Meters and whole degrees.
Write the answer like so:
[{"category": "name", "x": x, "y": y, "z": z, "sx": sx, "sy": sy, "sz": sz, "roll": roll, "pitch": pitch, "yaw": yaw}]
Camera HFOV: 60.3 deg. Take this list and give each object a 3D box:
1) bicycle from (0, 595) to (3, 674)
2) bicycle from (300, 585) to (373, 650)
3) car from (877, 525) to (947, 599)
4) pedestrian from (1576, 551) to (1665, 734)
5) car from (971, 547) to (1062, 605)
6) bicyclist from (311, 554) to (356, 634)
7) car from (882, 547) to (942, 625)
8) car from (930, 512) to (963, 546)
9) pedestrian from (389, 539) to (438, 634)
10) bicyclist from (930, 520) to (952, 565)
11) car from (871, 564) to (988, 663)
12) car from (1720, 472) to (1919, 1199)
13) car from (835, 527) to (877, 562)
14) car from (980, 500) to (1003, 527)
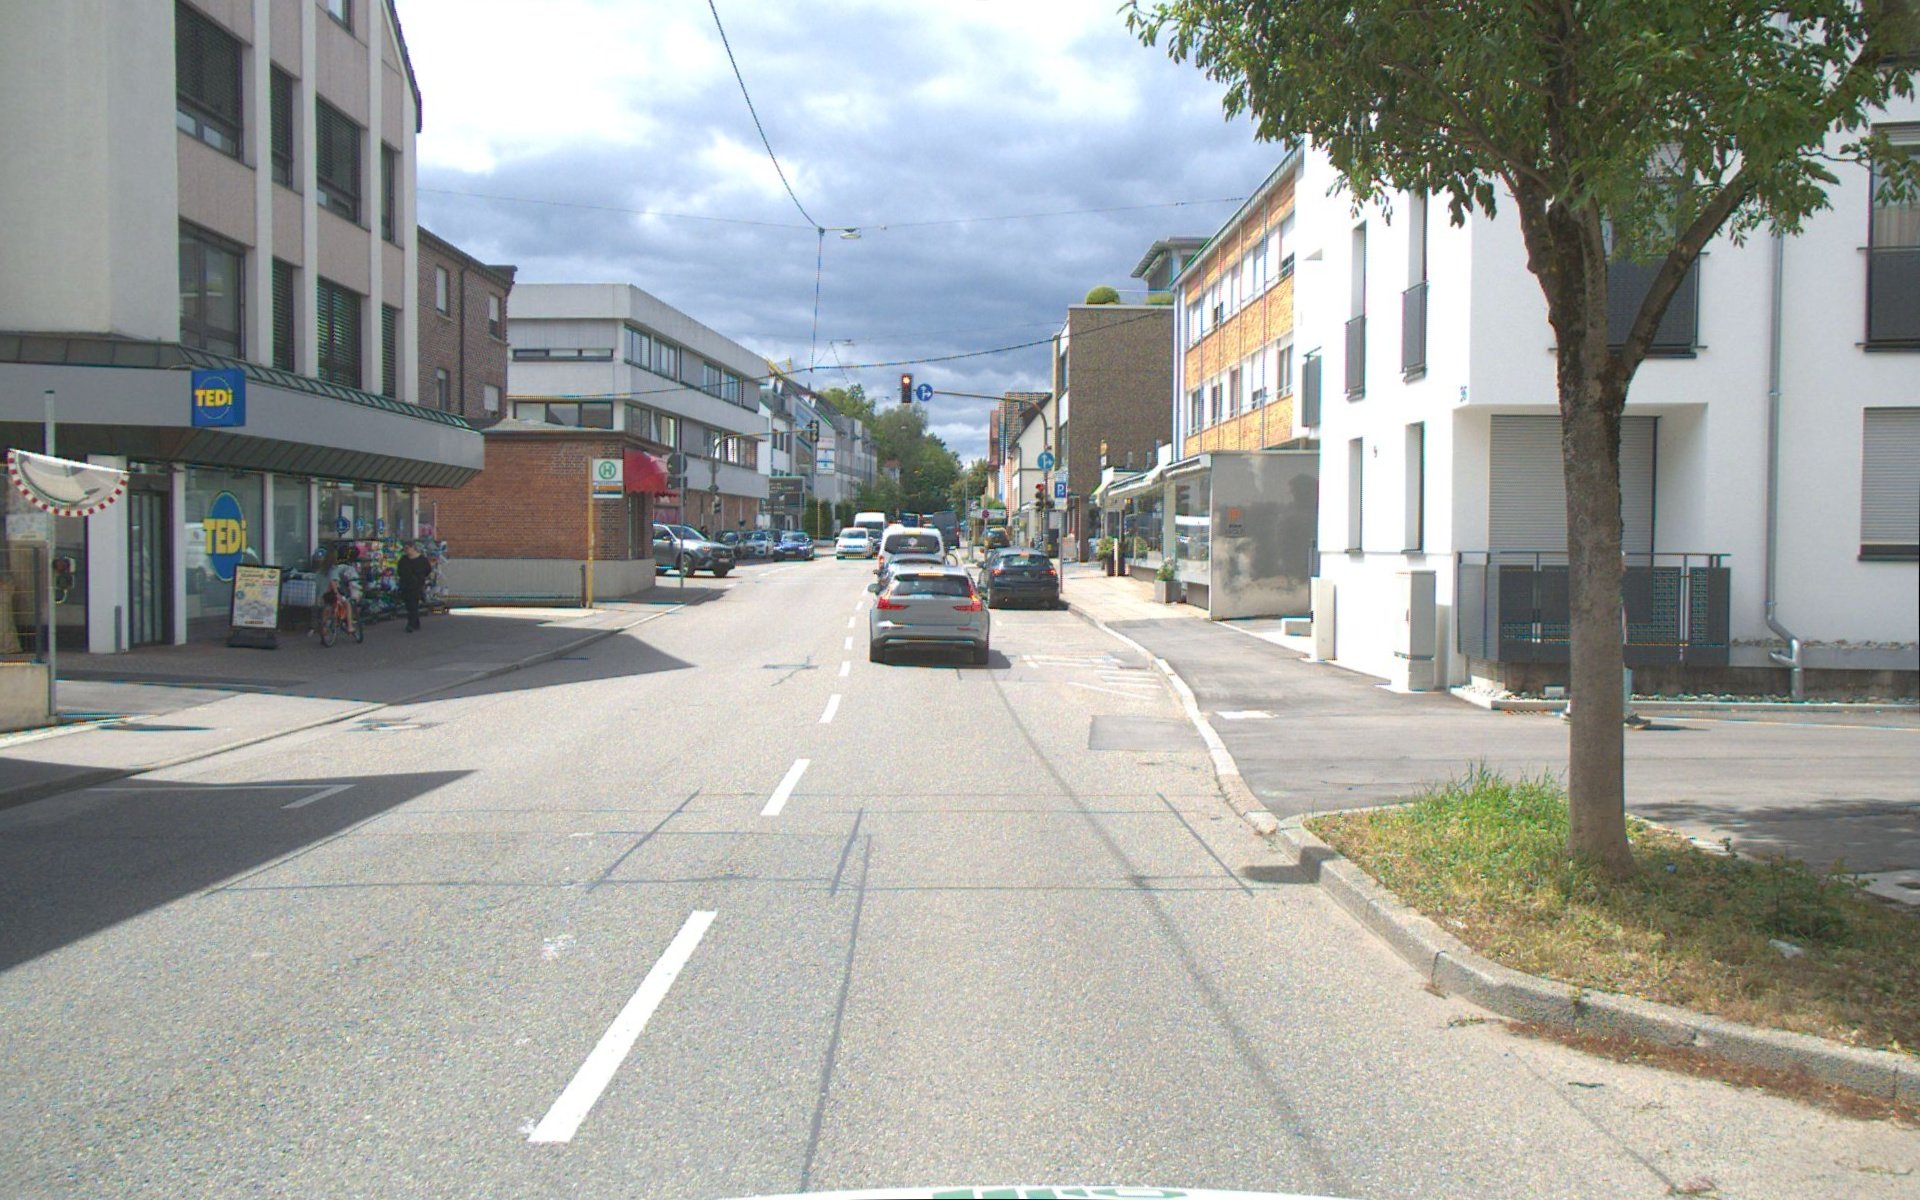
[{"category": "bicycle", "x": -11.813, "y": 0.396, "z": 18.918, "sx": 1.520, "sy": 0.912, "sz": 0.303, "roll": 0, "pitch": 1, "yaw": -3}, {"category": "bicycle", "x": -9.434, "y": 0.252, "z": 25.075, "sx": 0.457, "sy": 0.876, "sz": 1.777, "roll": 2, "pitch": 2, "yaw": -1}, {"category": "car", "x": -1.271, "y": -0.998, "z": 44.782, "sx": 1.799, "sy": 1.894, "sz": 3.850, "roll": 1, "pitch": 0, "yaw": -1}, {"category": "pedestrian", "x": 6.241, "y": 0.384, "z": 15.620, "sx": 0.604, "sy": 1.676, "sz": 0.736, "roll": 0, "pitch": 0, "yaw": 37}, {"category": "car", "x": 1.382, "y": -0.592, "z": 42.016, "sx": 1.719, "sy": 1.395, "sz": 3.994, "roll": 0, "pitch": 1, "yaw": -7}, {"category": "bicyclist", "x": -9.449, "y": -0.096, "z": 24.957, "sx": 0.448, "sy": 1.199, "sz": 0.624, "roll": 0, "pitch": 0, "yaw": -1}, {"category": "car", "x": -1.032, "y": -0.343, "z": 36.036, "sx": 1.248, "sy": 1.553, "sz": 3.051, "roll": 0, "pitch": 3, "yaw": -1}, {"category": "car", "x": -1.055, "y": -5.420, "z": 126.061, "sx": 2.387, "sy": 2.359, "sz": 5.325, "roll": 2, "pitch": 1, "yaw": -1}, {"category": "pedestrian", "x": -9.553, "y": -0.238, "z": 28.924, "sx": 0.615, "sy": 1.630, "sz": 0.563, "roll": 1, "pitch": 0, "yaw": 3}, {"category": "bicyclist", "x": -0.719, "y": -2.159, "z": 62.278, "sx": 0.757, "sy": 1.634, "sz": 0.580, "roll": 1, "pitch": 0, "yaw": -7}, {"category": "car", "x": -0.473, "y": 0.179, "z": 26.279, "sx": 1.708, "sy": 1.441, "sz": 3.999, "roll": 0, "pitch": 1, "yaw": -1}, {"category": "car", "x": 2.721, "y": 0.673, "z": 1.640, "sx": 1.807, "sy": 1.798, "sz": 4.514, "roll": 1, "pitch": 0, "yaw": -1}, {"category": "car", "x": -5.552, "y": -2.949, "z": 88.696, "sx": 1.834, "sy": 1.668, "sz": 4.001, "roll": 2, "pitch": 0, "yaw": 1}, {"category": "car", "x": 2.668, "y": -7.304, "z": 139.778, "sx": 1.765, "sy": 2.049, "sz": 3.999, "roll": 0, "pitch": 0, "yaw": -1}]
